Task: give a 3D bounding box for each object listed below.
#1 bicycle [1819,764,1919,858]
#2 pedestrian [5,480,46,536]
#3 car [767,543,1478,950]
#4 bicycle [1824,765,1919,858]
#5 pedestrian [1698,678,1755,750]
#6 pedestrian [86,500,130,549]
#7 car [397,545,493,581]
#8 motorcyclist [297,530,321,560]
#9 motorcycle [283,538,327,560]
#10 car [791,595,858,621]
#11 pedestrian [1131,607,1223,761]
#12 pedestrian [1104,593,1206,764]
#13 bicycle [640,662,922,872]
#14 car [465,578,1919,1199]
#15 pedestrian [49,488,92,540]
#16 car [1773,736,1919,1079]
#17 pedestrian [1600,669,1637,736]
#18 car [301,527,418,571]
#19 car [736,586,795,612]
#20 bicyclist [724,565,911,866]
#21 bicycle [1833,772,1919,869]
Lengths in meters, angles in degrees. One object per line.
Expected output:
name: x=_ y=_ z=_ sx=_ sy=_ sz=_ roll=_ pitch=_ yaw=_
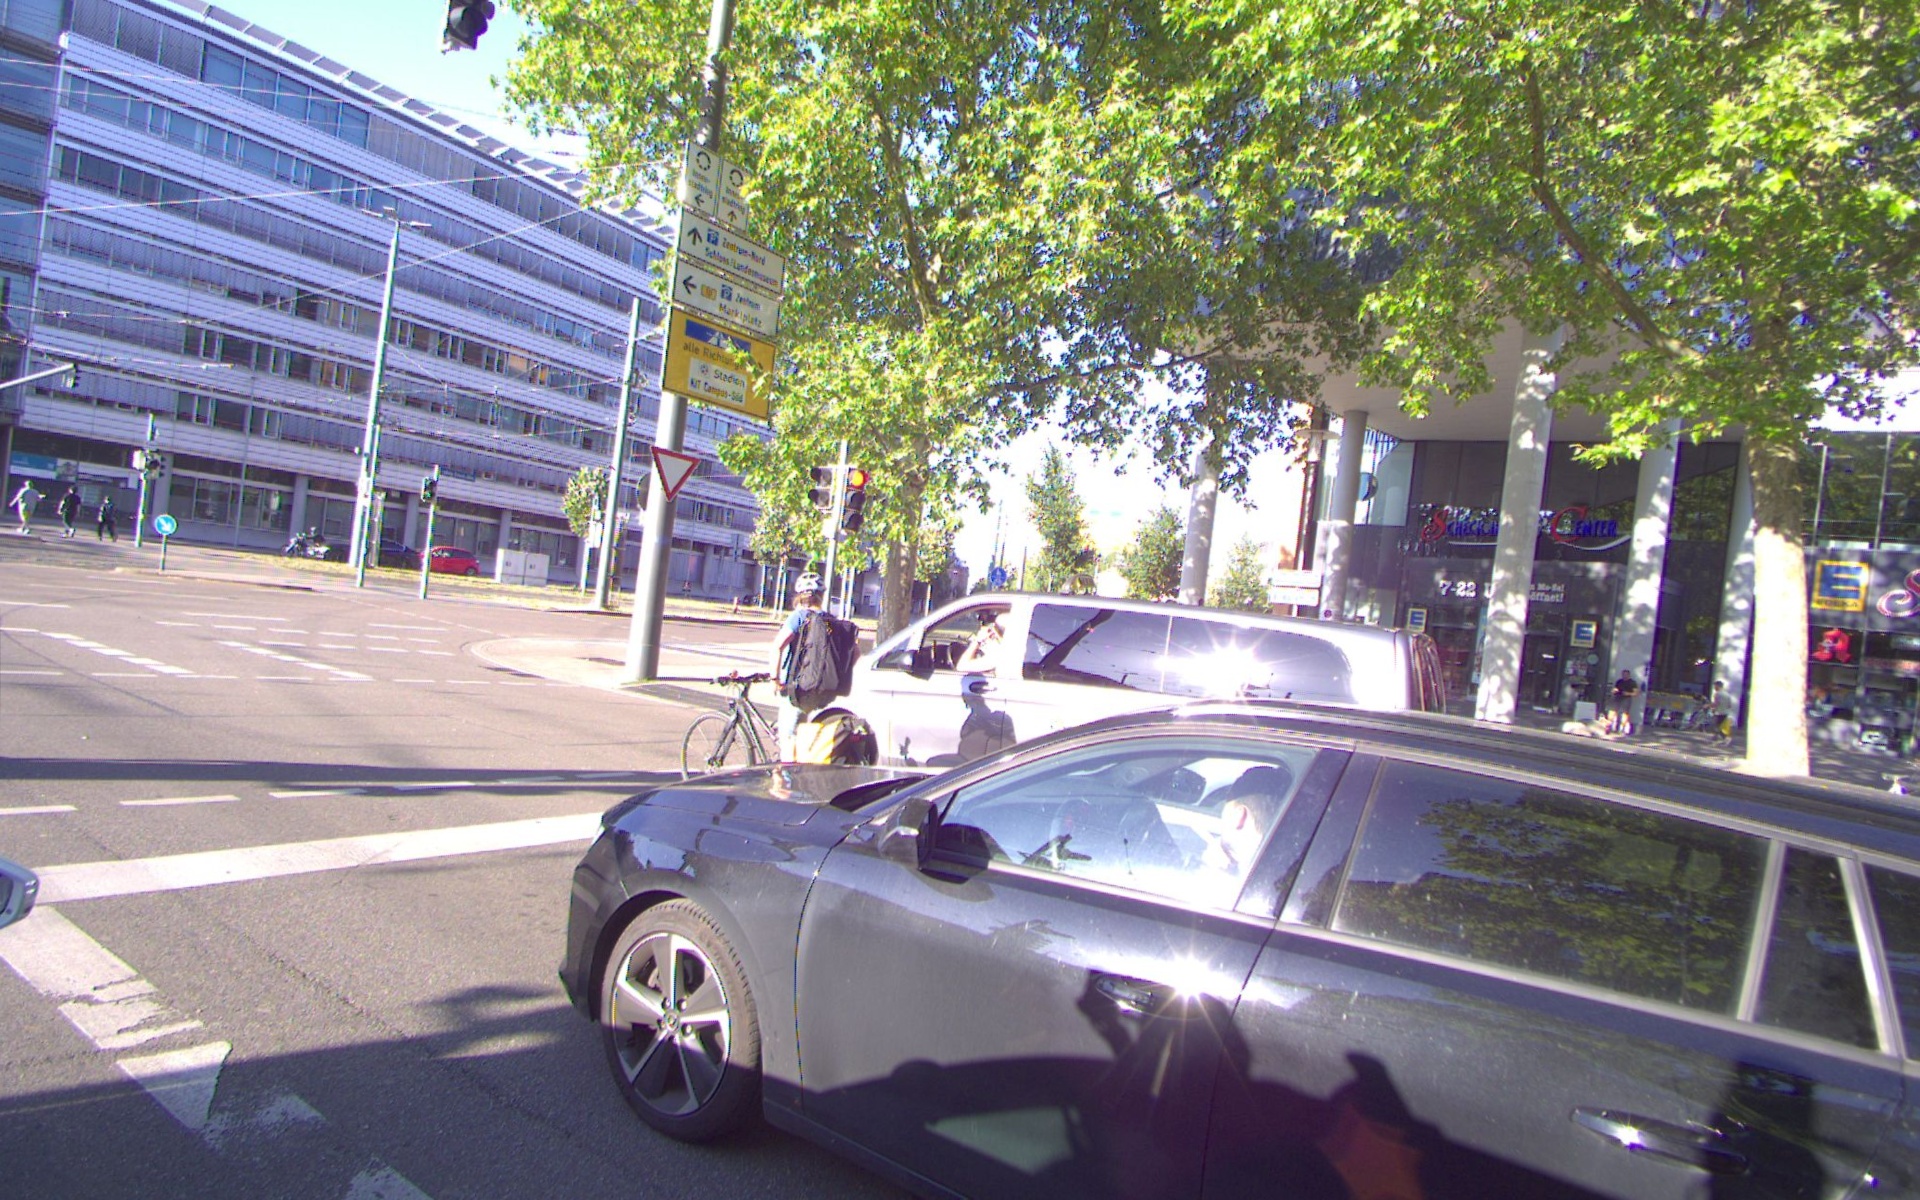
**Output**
bicycle: x=11.203 y=2.546 z=12.082 sx=0.437 sy=0.930 sz=1.210 roll=6 pitch=0 yaw=-39
pedestrian: x=-32.432 y=-3.193 z=34.912 sx=0.860 sy=1.811 sz=0.862 roll=7 pitch=1 yaw=43
car: x=1.107 y=0.844 z=7.940 sx=5.012 sy=2.004 sz=1.939 roll=7 pitch=0 yaw=31
bicycle: x=11.500 y=2.608 z=12.354 sx=0.460 sy=0.938 sz=1.210 roll=6 pitch=0 yaw=-39
pedestrian: x=20.030 y=2.956 z=26.307 sx=0.704 sy=1.728 sz=0.806 roll=7 pitch=1 yaw=4
pedestrian: x=-30.882 y=-2.736 z=36.468 sx=0.883 sy=1.583 sz=0.947 roll=7 pitch=1 yaw=39
car: x=-26.470 y=-1.897 z=51.784 sx=1.758 sy=1.411 sz=3.984 roll=7 pitch=1 yaw=37
motorcyclist: x=-30.050 y=-2.551 z=46.439 sx=0.452 sy=1.291 sz=0.712 roll=7 pitch=1 yaw=36
motorcycle: x=-30.155 y=-2.331 z=46.334 sx=0.460 sy=0.820 sz=1.568 roll=7 pitch=0 yaw=36
car: x=-9.404 y=0.582 z=70.108 sx=1.758 sy=1.353 sz=4.605 roll=7 pitch=0 yaw=37
pedestrian: x=2.722 y=1.038 z=12.601 sx=0.751 sy=1.799 sz=0.647 roll=7 pitch=1 yaw=31
pedestrian: x=2.309 y=0.913 z=11.897 sx=0.800 sy=1.868 sz=0.642 roll=7 pitch=1 yaw=30
bicycle: x=-1.214 y=1.027 z=6.615 sx=1.839 sy=0.993 sz=0.561 roll=7 pitch=1 yaw=32
car: x=0.778 y=0.937 z=2.746 sx=4.199 sy=1.431 sz=1.742 roll=7 pitch=-2 yaw=32
pedestrian: x=-32.241 y=-3.114 z=36.457 sx=1.020 sy=1.706 sz=0.912 roll=7 pitch=1 yaw=39
car: x=6.580 y=1.756 z=4.542 sx=4.181 sy=1.503 sz=1.741 roll=7 pitch=0 yaw=31
pedestrian: x=17.491 y=2.729 z=26.734 sx=0.598 sy=1.707 sz=0.511 roll=6 pitch=1 yaw=-41
car: x=-27.248 y=-2.277 z=45.779 sx=1.758 sy=1.415 sz=4.157 roll=7 pitch=0 yaw=37
car: x=-14.556 y=-0.058 z=75.637 sx=1.758 sy=1.415 sz=4.157 roll=7 pitch=0 yaw=37
bicyclist: x=-0.897 y=0.694 z=6.374 sx=0.766 sy=1.714 sz=0.632 roll=7 pitch=1 yaw=32
bicycle: x=10.544 y=2.480 z=11.095 sx=1.233 sy=0.898 sz=0.462 roll=7 pitch=1 yaw=32
